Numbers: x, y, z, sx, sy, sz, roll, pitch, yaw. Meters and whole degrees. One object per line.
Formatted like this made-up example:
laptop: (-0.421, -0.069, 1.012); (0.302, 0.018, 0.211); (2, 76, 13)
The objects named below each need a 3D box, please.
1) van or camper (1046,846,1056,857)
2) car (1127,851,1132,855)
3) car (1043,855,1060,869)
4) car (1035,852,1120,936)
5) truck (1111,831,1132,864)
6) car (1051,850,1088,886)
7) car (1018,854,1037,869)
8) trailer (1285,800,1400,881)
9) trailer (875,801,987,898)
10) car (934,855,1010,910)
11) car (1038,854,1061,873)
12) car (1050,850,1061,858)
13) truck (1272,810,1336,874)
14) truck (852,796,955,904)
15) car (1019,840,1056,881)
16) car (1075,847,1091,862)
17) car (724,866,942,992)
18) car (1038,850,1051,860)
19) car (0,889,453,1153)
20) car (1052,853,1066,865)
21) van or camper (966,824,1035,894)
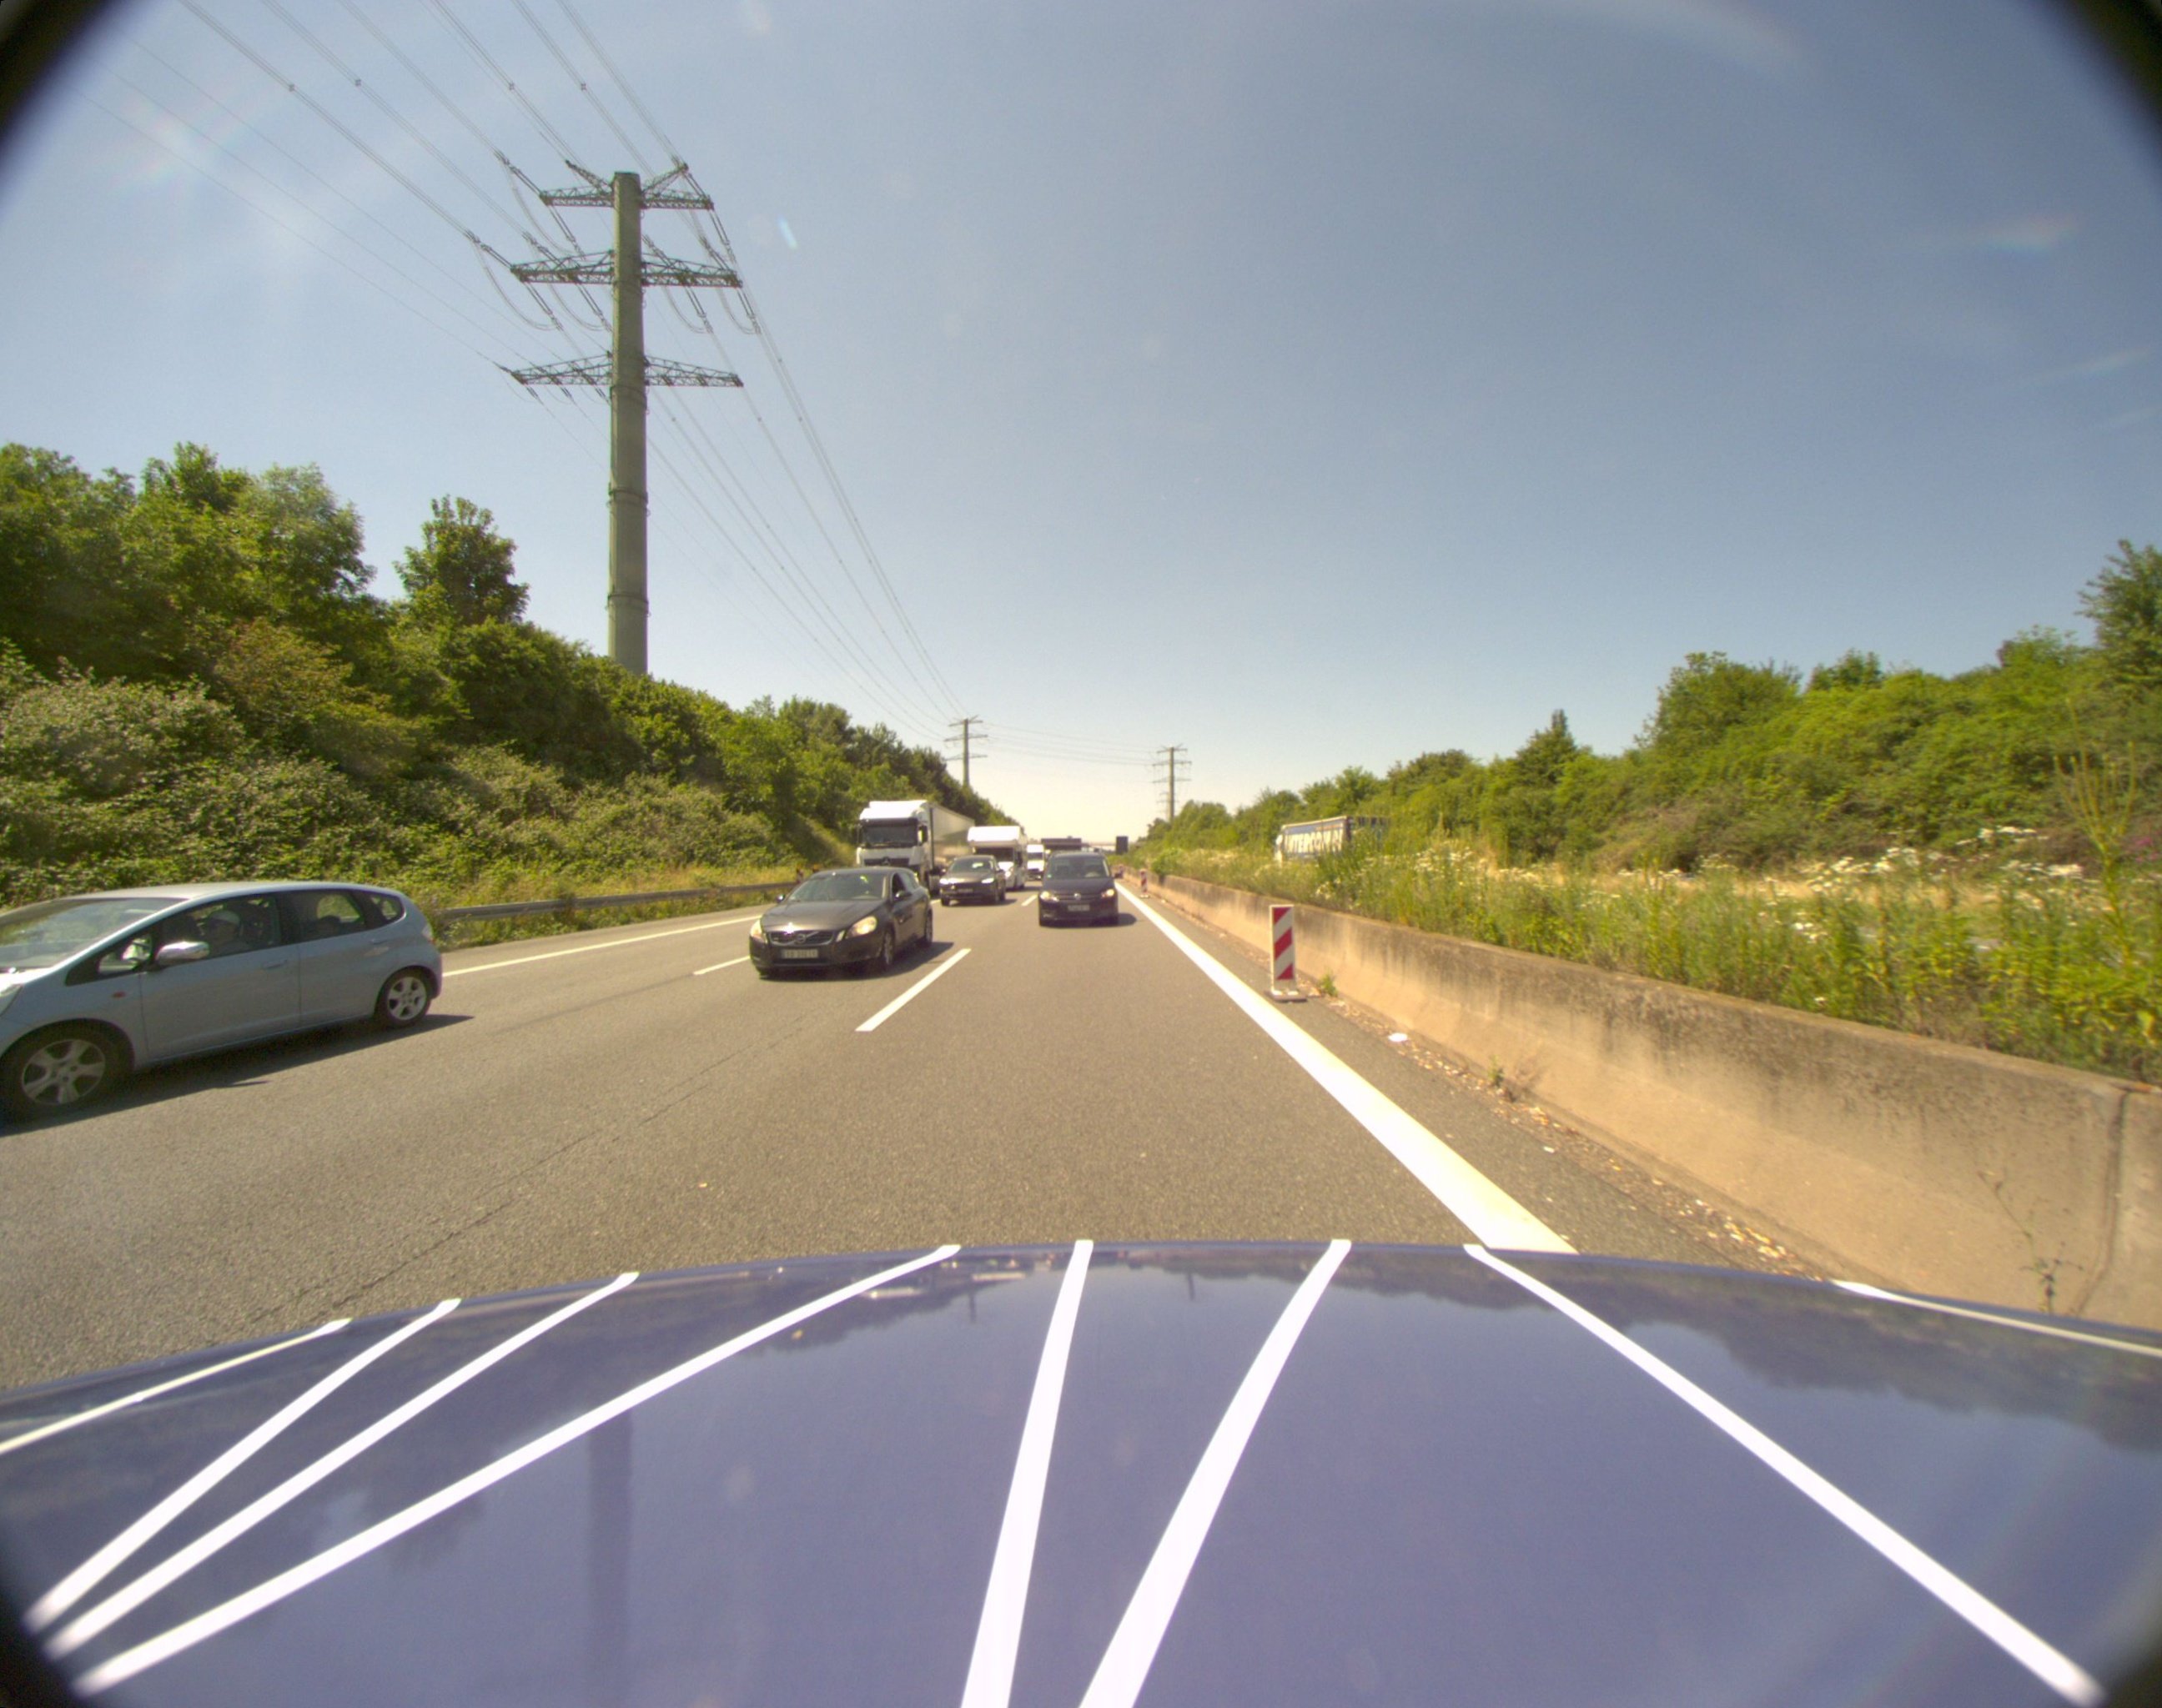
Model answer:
van or camper: (-7.107, -0.571, 180.614); (1.978, 2.511, 4.369); (-2, 1, 1)
car: (16.157, -0.373, 253.718); (1.514, 1.456, 3.362); (0, 0, 1)
car: (-3.534, 0.922, 90.271); (1.720, 1.510, 3.874); (-2, 1, 1)
car: (-0.045, 0.825, 17.904); (1.700, 1.641, 4.219); (-2, 1, 1)
truck: (4.253, -0.694, 80.406); (1.892, 3.264, 5.590); (-2, 1, 1)
car: (-0.535, 0.675, 39.221); (1.700, 1.641, 4.219); (-2, 1, 1)
car: (-5.877, 0.851, 83.541); (1.720, 1.510, 3.874); (-2, 1, 1)
trailer: (16.217, -0.804, 48.532); (2.967, 4.378, 12.905); (-2, 1, 1)
trailer: (-7.199, -0.246, 38.990); (2.790, 4.024, 13.110); (-2, 1, 1)
car: (-3.661, 0.911, 26.196); (1.893, 1.602, 4.219); (-2, 1, 1)
car: (-2.794, 0.853, 67.667); (1.720, 1.510, 3.874); (-2, 1, 1)
car: (-4.723, -0.014, 141.535); (1.720, 1.510, 3.874); (-2, 1, 1)
truck: (16.359, -0.867, 56.203); (2.952, 4.367, 6.074); (-2, 1, 1)
truck: (-7.284, -0.172, 32.010); (2.740, 4.024, 5.793); (-2, 1, 1)
car: (-3.033, 0.407, 54.402); (2.042, 2.703, 6.705); (-2, 1, 1)
car: (0.299, 0.045, 97.110); (1.973, 1.682, 3.874); (-2, 1, 1)
car: (-3.528, 0.977, 11.798); (1.799, 1.411, 4.509); (-2, 1, 1)
car: (-5.781, 0.123, 120.953); (1.720, 1.392, 3.874); (-2, 1, 1)
car: (-7.479, 1.132, 6.050); (1.705, 1.440, 3.787); (-2, 1, 1)
car: (-3.104, 0.699, 106.086); (1.720, 1.510, 3.874); (-2, 1, 1)
van or camper: (-3.816, 0.188, 37.592); (2.375, 3.026, 7.632); (-2, 1, 1)
